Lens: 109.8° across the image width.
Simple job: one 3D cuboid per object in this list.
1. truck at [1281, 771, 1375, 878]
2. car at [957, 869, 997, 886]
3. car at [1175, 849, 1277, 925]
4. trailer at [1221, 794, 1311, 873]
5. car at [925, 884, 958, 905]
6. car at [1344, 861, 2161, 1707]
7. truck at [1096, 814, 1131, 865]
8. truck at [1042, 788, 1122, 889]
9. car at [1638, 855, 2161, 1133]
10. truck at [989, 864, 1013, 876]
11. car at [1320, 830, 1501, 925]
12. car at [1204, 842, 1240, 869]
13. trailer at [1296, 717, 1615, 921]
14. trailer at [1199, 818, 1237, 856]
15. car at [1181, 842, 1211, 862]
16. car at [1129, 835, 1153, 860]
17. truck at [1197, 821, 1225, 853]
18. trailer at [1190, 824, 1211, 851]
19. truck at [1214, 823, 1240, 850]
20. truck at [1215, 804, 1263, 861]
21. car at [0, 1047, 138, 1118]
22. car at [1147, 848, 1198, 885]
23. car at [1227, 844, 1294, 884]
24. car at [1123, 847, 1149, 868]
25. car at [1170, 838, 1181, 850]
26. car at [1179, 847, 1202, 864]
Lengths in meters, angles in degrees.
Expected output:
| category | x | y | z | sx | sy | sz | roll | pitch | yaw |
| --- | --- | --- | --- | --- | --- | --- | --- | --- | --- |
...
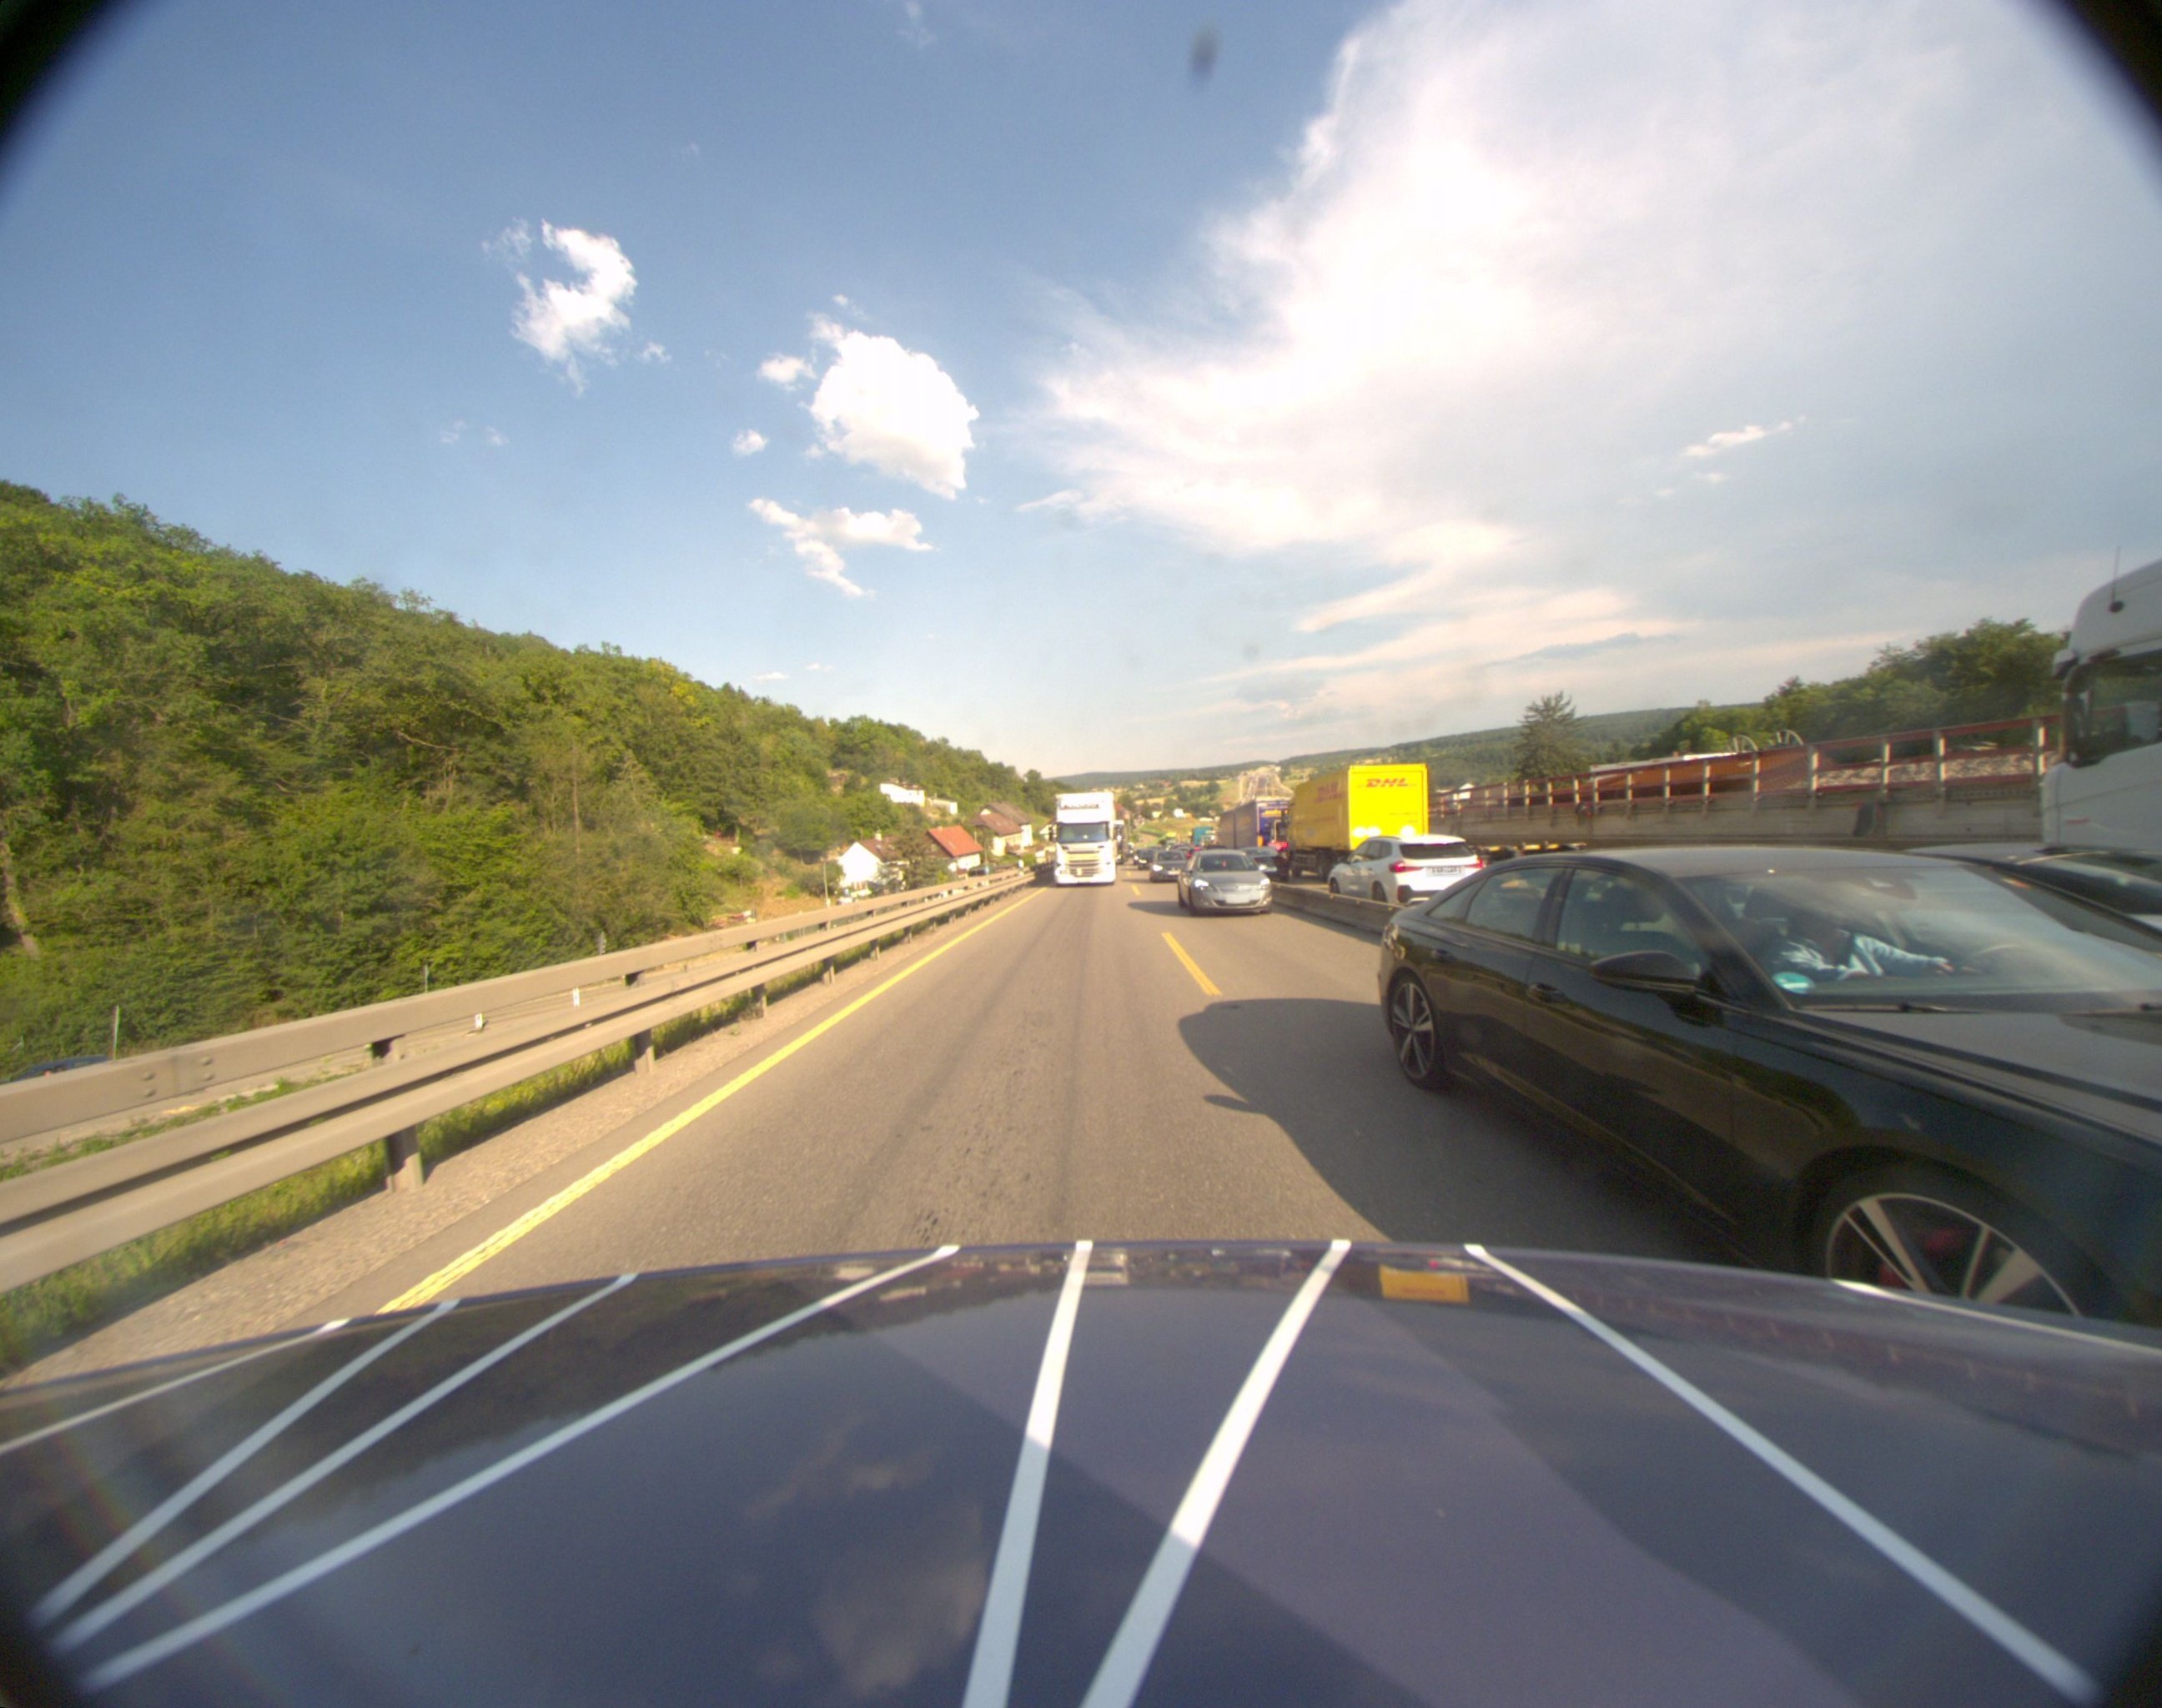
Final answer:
| category | x | y | z | sx | sy | sz | roll | pitch | yaw |
| --- | --- | --- | --- | --- | --- | --- | --- | --- | --- |
| truck | 10.422 | -1.242 | 32.444 | 2.700 | 4.174 | 4.397 | -1 | 2 | 2 |
| car | -15.792 | 3.553 | 115.224 | 5.475 | 2.252 | 2.001 | -3 | 3 | 14 |
| car | 3.264 | 0.680 | 17.864 | 1.810 | 1.478 | 4.118 | -2 | 1 | 3 |
| trailer | 11.373 | -1.340 | 48.720 | 2.721 | 4.111 | 16.751 | -1 | 2 | 4 |
| car | -17.158 | 5.015 | 93.679 | 1.865 | 1.975 | 5.054 | -1 | 4 | 14 |
| car | 2.892 | 0.868 | 3.123 | 1.945 | 1.472 | 5.221 | -1 | 2 | 2 |
| truck | 3.158 | -1.307 | 72.516 | 2.787 | 4.505 | 7.191 | -3 | 0 | 5 |
| truck | 0.428 | -0.857 | 37.917 | 2.891 | 4.060 | 13.893 | -1 | 2 | 4 |
| car | 6.148 | 0.692 | 5.204 | 1.715 | 1.245 | 4.050 | -1 | 2 | 0 |
| truck | -13.201 | 2.618 | 125.219 | 2.002 | 1.729 | 3.990 | -11 | 5 | -35 |
| car | 6.489 | 0.359 | 15.588 | 1.850 | 1.638 | 4.559 | -1 | 2 | 2 |
| car | 8.832 | 0.048 | 47.893 | 1.720 | 1.499 | 4.291 | -1 | 2 | 3 |
| trailer | 10.064 | -0.971 | 23.809 | 2.707 | 4.180 | 15.994 | -1 | 2 | 3 |
| trailer | 15.078 | -1.876 | 84.763 | 2.754 | 3.794 | 16.049 | 0 | 1 | 5 |
| car | 9.028 | -0.183 | 59.962 | 1.801 | 1.445 | 4.615 | -1 | 2 | 3 |
| car | 5.271 | -0.608 | 66.929 | 1.998 | 2.002 | 3.999 | -1 | 2 | 3 |
| truck | 15.821 | -2.078 | 92.827 | 2.754 | 3.784 | 7.112 | 0 | 1 | 5 |
| trailer | 19.101 | -2.707 | 122.072 | 2.720 | 4.099 | 12.495 | 0 | 1 | 6 |
| truck | 24.109 | -2.897 | 126.070 | 3.165 | 4.099 | 12.495 | 0 | 1 | 6 |
| truck | 11.954 | -1.641 | 57.783 | 2.707 | 4.118 | 5.794 | -1 | 2 | 4 |
| car | -38.550 | 8.551 | 28.502 | 1.769 | 1.589 | 3.622 | -4 | 1 | 29 |
| car | 4.018 | 0.521 | 33.965 | 1.823 | 1.433 | 3.999 | -3 | 1 | 1 |
| car | 7.211 | 0.340 | 30.937 | 1.743 | 1.394 | 4.902 | -1 | 2 | 2 |
| car | 4.484 | 0.243 | 62.479 | 1.998 | 1.565 | 3.999 | -1 | 2 | 3 |
| car | 16.645 | -1.800 | 133.971 | 1.827 | 1.923 | 5.130 | 1 | 2 | 6 |
| car | 10.437 | 0.129 | 72.894 | 1.792 | 1.489 | 4.724 | -1 | 2 | 4 |
